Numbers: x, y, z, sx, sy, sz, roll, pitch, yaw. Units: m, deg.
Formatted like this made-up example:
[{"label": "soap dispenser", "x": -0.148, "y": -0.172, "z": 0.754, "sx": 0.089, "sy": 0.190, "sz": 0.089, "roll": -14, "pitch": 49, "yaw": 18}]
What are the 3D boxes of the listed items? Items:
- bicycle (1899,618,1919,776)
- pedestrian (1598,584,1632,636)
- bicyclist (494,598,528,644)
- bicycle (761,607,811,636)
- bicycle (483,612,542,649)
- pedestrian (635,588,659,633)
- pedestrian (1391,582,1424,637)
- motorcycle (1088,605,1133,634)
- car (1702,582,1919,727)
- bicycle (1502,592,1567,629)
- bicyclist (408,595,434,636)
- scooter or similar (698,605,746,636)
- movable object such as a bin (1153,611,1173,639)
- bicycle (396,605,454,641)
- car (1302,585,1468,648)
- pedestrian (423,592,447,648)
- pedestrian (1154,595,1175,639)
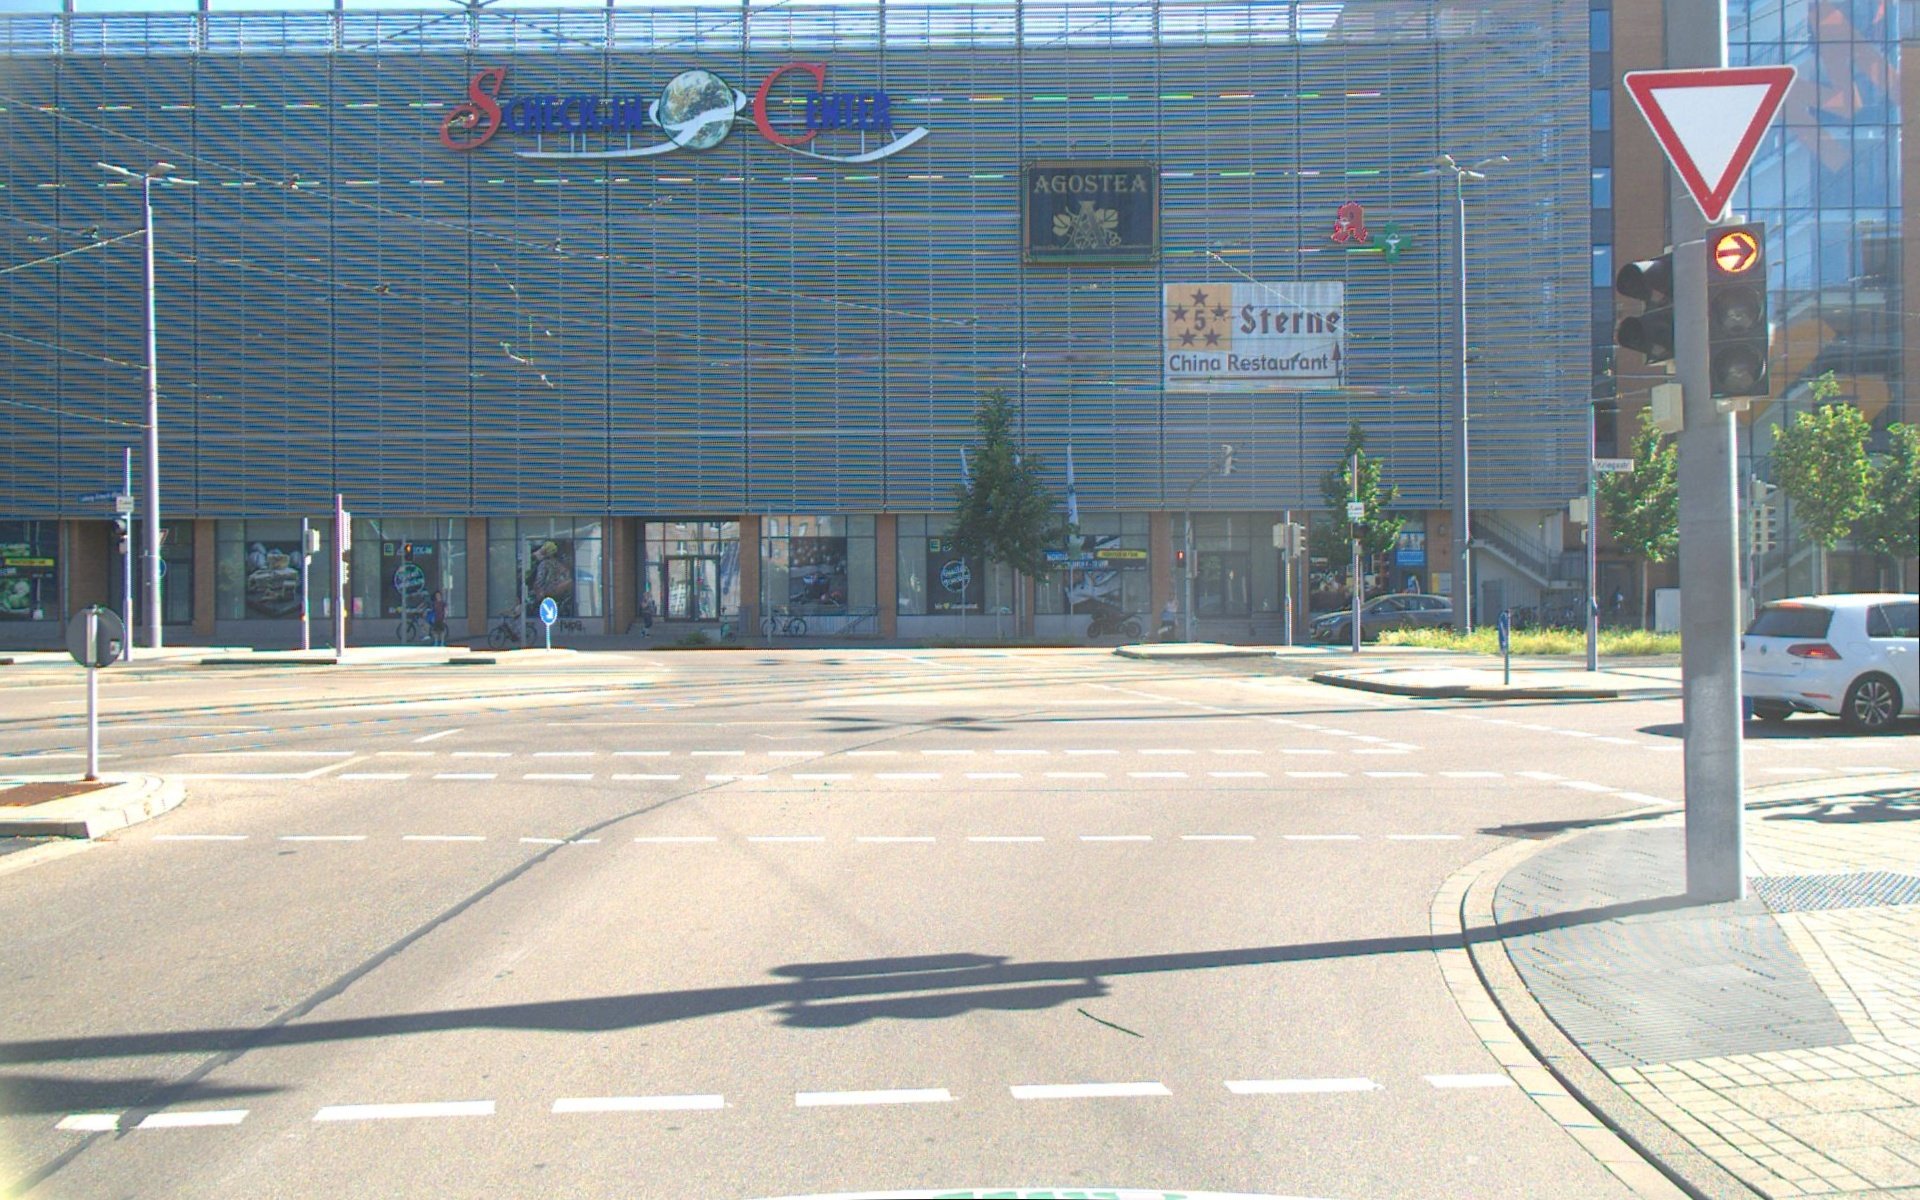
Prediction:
[{"label": "bicycle", "x": 7.771, "y": 0.747, "z": 11.965, "sx": 0.623, "sy": 1.218, "sz": 2.153, "roll": 0, "pitch": 0, "yaw": -3}, {"label": "pedestrian", "x": 24.230, "y": 0.375, "z": 61.194, "sx": 1.013, "sy": 1.860, "sz": 1.014, "roll": -2, "pitch": 0, "yaw": 30}, {"label": "bicyclist", "x": -14.796, "y": 0.686, "z": 54.544, "sx": 0.663, "sy": 1.452, "sz": 0.844, "roll": 0, "pitch": 2, "yaw": 42}, {"label": "bicycle", "x": -6.362, "y": 0.774, "z": 60.432, "sx": 1.783, "sy": 1.006, "sz": 0.556, "roll": 0, "pitch": 1, "yaw": -11}, {"label": "bicycle", "x": -14.764, "y": 1.002, "z": 54.619, "sx": 0.559, "sy": 1.105, "sz": 1.852, "roll": 0, "pitch": 2, "yaw": 42}, {"label": "pedestrian", "x": -11.442, "y": 0.369, "z": 60.516, "sx": 0.646, "sy": 1.629, "sz": 0.594, "roll": 1, "pitch": -1, "yaw": 18}, {"label": "pedestrian", "x": 15.807, "y": 0.333, "z": 58.459, "sx": 0.930, "sy": 1.860, "sz": 0.846, "roll": -2, "pitch": -4, "yaw": 5}, {"label": "motorcycle", "x": 5.533, "y": 0.724, "z": 60.706, "sx": 1.605, "sy": 1.022, "sz": 0.447, "roll": 1, "pitch": 0, "yaw": 6}, {"label": "car", "x": 10.760, "y": 0.548, "z": 18.498, "sx": 4.205, "sy": 1.498, "sz": 1.861, "roll": -1, "pitch": 0, "yaw": -11}, {"label": "bicycle", "x": 21.292, "y": 0.387, "z": 61.350, "sx": 2.209, "sy": 1.318, "sz": 0.605, "roll": 1, "pitch": -1, "yaw": -2}, {"label": "bicyclist", "x": -19.047, "y": 0.532, "z": 58.445, "sx": 0.738, "sy": 1.410, "sz": 0.565, "roll": -1, "pitch": 1, "yaw": -1}, {"label": "scooter or similar", "x": -8.742, "y": 0.743, "z": 60.779, "sx": 1.759, "sy": 1.085, "sz": 0.611, "roll": 0, "pitch": 1, "yaw": -9}, {"label": "movable object such as a bin", "x": 6.745, "y": 0.828, "z": 54.896, "sx": 0.599, "sy": 0.920, "sz": 0.970, "roll": 1, "pitch": 0, "yaw": 10}, {"label": "bicycle", "x": -18.905, "y": 0.815, "z": 58.440, "sx": 1.819, "sy": 1.238, "sz": 0.569, "roll": -1, "pitch": 1, "yaw": -2}, {"label": "car", "x": 11.794, "y": 0.465, "z": 46.034, "sx": 4.063, "sy": 1.495, "sz": 1.840, "roll": 3, "pitch": -1, "yaw": -2}, {"label": "pedestrian", "x": -17.335, "y": 0.658, "z": 54.668, "sx": 0.683, "sy": 1.829, "sz": 0.727, "roll": -2, "pitch": 0, "yaw": -17}, {"label": "pedestrian", "x": 6.860, "y": 0.574, "z": 55.362, "sx": 0.641, "sy": 1.438, "sz": 0.850, "roll": 1, "pitch": 0, "yaw": 10}]
